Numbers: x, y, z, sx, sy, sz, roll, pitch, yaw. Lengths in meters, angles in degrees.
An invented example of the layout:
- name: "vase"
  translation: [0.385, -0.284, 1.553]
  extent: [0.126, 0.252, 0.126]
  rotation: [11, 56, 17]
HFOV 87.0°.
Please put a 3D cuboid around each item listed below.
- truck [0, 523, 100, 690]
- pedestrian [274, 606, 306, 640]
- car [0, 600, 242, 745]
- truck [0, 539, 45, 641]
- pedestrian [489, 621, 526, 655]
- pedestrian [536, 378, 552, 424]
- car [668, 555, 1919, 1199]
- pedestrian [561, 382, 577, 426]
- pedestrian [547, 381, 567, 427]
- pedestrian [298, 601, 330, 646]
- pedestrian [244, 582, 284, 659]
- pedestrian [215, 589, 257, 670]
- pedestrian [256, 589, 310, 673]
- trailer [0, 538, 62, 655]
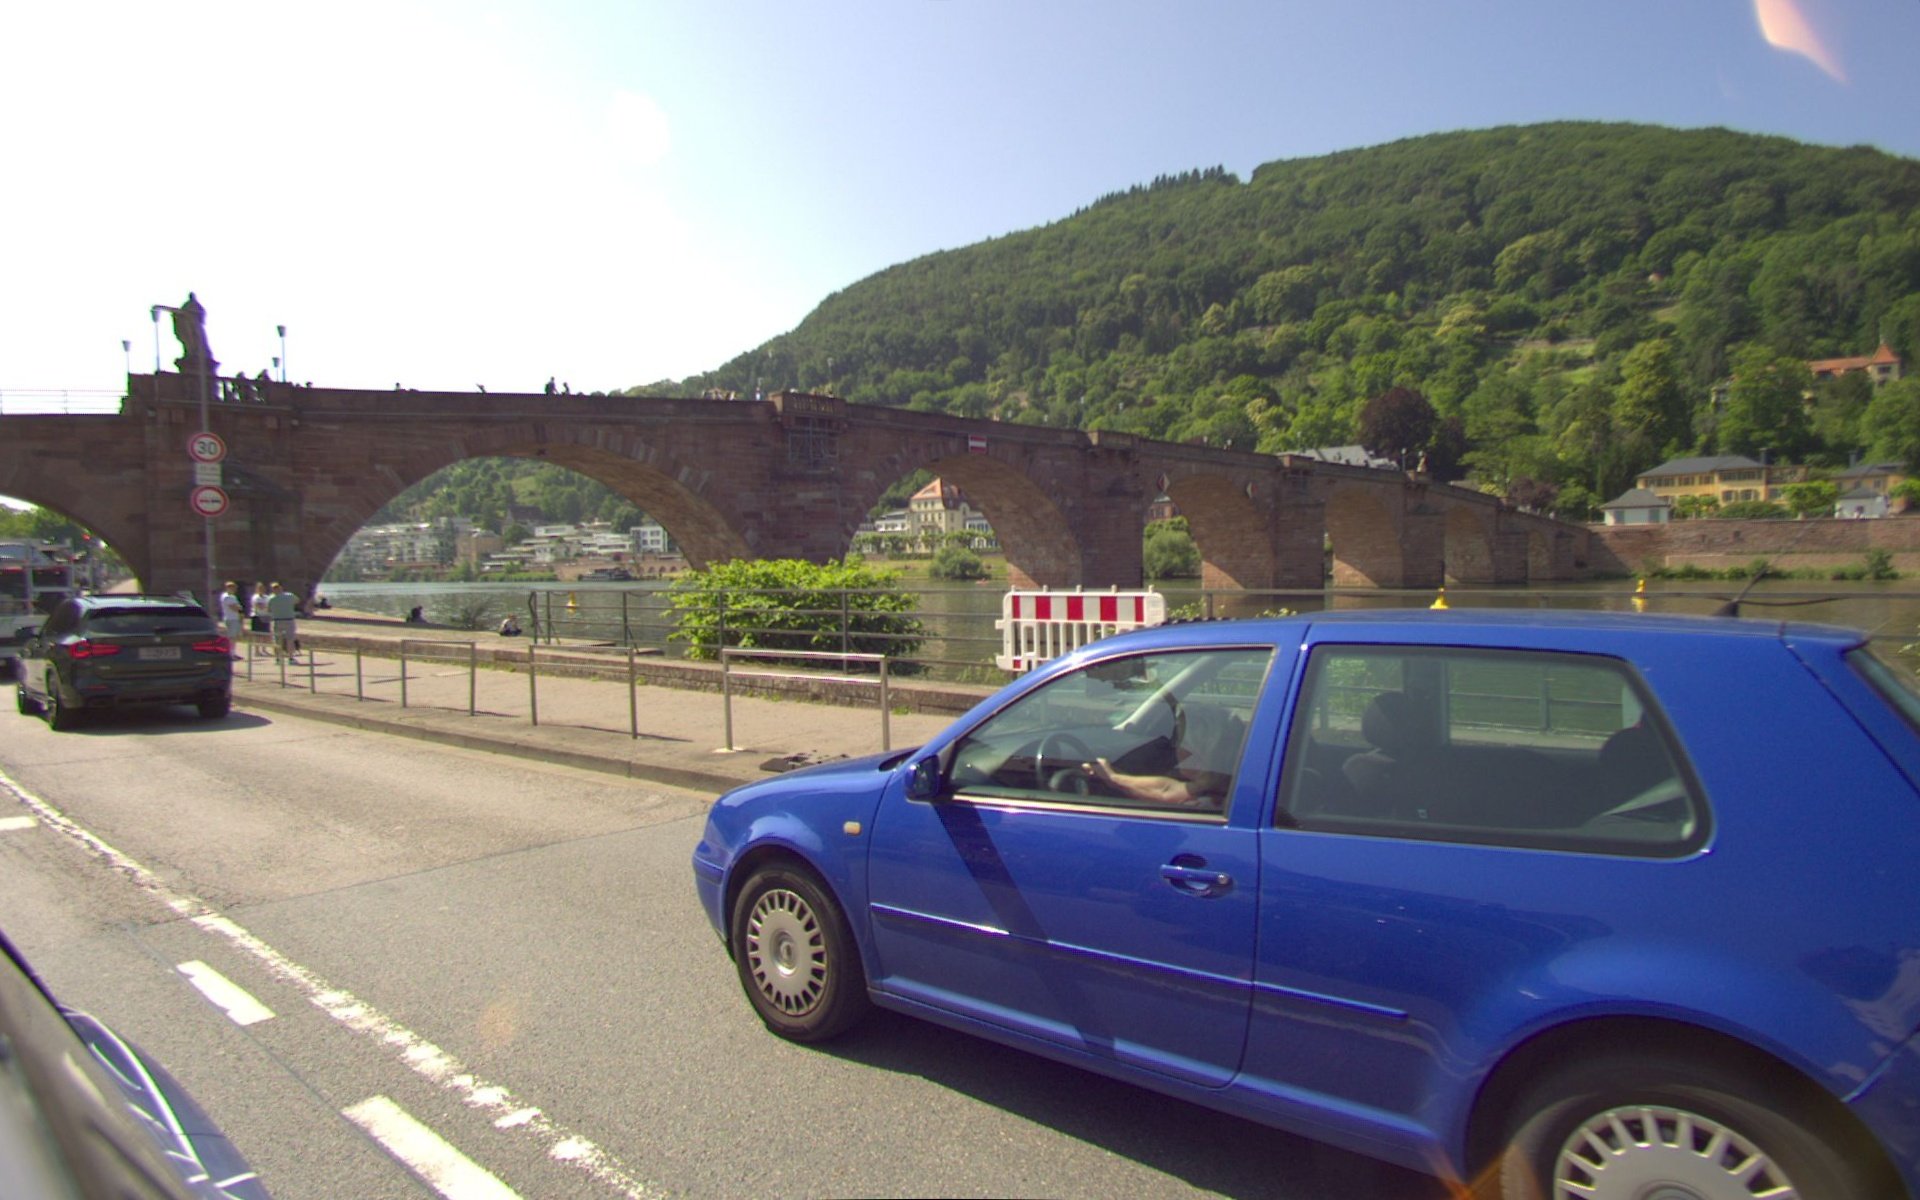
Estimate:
- name: "truck"
  translation: [-21.496, 0.115, 22.855]
  extent: [7.612, 3.286, 2.350]
  rotation: [0, 0, 44]
- name: "pedestrian"
  translation: [-25.430, 0.853, 38.420]
  extent: [1.026, 1.239, 0.779]
  rotation: [-2, 1, 43]
- name: "car"
  translation: [-11.722, 0.884, 14.033]
  extent: [4.451, 1.693, 1.844]
  rotation: [-1, -1, 40]
- name: "truck"
  translation: [-37.786, -0.337, 39.857]
  extent: [2.494, 3.777, 6.252]
  rotation: [1, -1, -43]
- name: "pedestrian"
  translation: [-15.706, 1.308, 35.140]
  extent: [0.954, 1.139, 0.832]
  rotation: [-1, 0, -40]
- name: "pedestrian"
  translation: [-20.012, -9.559, 48.648]
  extent: [0.639, 2.029, 0.461]
  rotation: [1, 1, 41]
- name: "car"
  translation: [1.138, 0.695, 2.980]
  extent: [4.321, 1.502, 1.712]
  rotation: [-1, -1, 40]
- name: "pedestrian"
  translation: [-19.142, -9.576, 49.571]
  extent: [0.639, 2.029, 0.461]
  rotation: [1, 1, 41]
- name: "pedestrian"
  translation: [-19.553, -9.499, 49.077]
  extent: [0.625, 2.029, 0.686]
  rotation: [1, 1, 41]
- name: "pedestrian"
  translation: [-24.345, 0.880, 38.144]
  extent: [0.774, 1.663, 0.779]
  rotation: [-2, 1, 43]
- name: "pedestrian"
  translation: [-16.786, 0.481, 24.421]
  extent: [0.535, 1.806, 0.824]
  rotation: [-2, 1, -18]
- name: "pedestrian"
  translation: [-16.731, 0.665, 23.401]
  extent: [0.513, 1.806, 0.824]
  rotation: [-2, 1, -18]
- name: "pedestrian"
  translation: [-14.346, 0.650, 21.449]
  extent: [0.538, 1.735, 0.755]
  rotation: [-2, 1, 7]
- name: "trailer"
  translation: [-33.791, -0.140, 35.758]
  extent: [2.495, 3.671, 11.538]
  rotation: [0, 0, -44]
